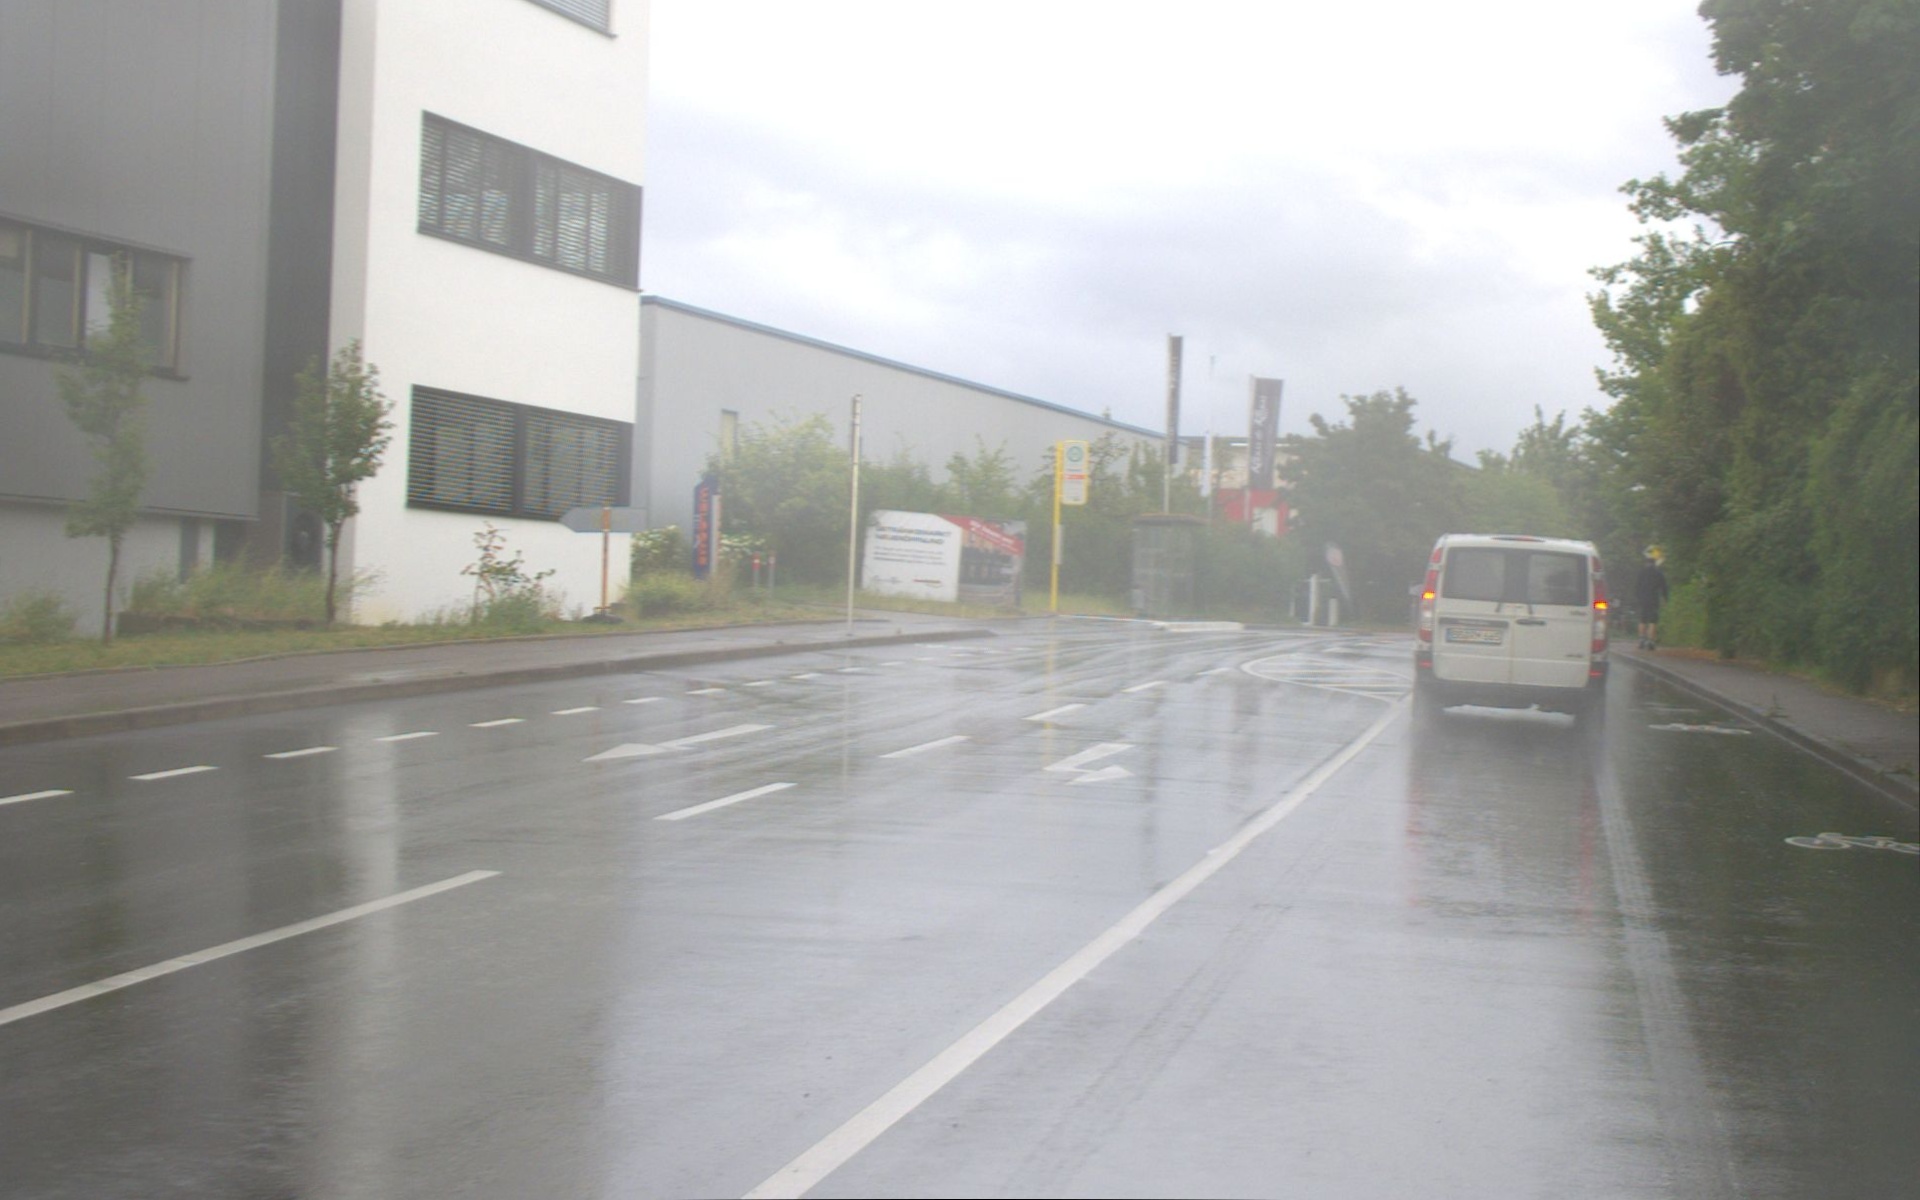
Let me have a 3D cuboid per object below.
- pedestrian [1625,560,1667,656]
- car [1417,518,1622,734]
[{"bbox_3d":[13.692,0.168,68.617,0.777,1.900,0.728,-1,-1,9],"label":"pedestrian"},{"bbox_3d":[5.714,0.231,34.956,1.899,2.011,5.370,0,0,10],"label":"car"}]
